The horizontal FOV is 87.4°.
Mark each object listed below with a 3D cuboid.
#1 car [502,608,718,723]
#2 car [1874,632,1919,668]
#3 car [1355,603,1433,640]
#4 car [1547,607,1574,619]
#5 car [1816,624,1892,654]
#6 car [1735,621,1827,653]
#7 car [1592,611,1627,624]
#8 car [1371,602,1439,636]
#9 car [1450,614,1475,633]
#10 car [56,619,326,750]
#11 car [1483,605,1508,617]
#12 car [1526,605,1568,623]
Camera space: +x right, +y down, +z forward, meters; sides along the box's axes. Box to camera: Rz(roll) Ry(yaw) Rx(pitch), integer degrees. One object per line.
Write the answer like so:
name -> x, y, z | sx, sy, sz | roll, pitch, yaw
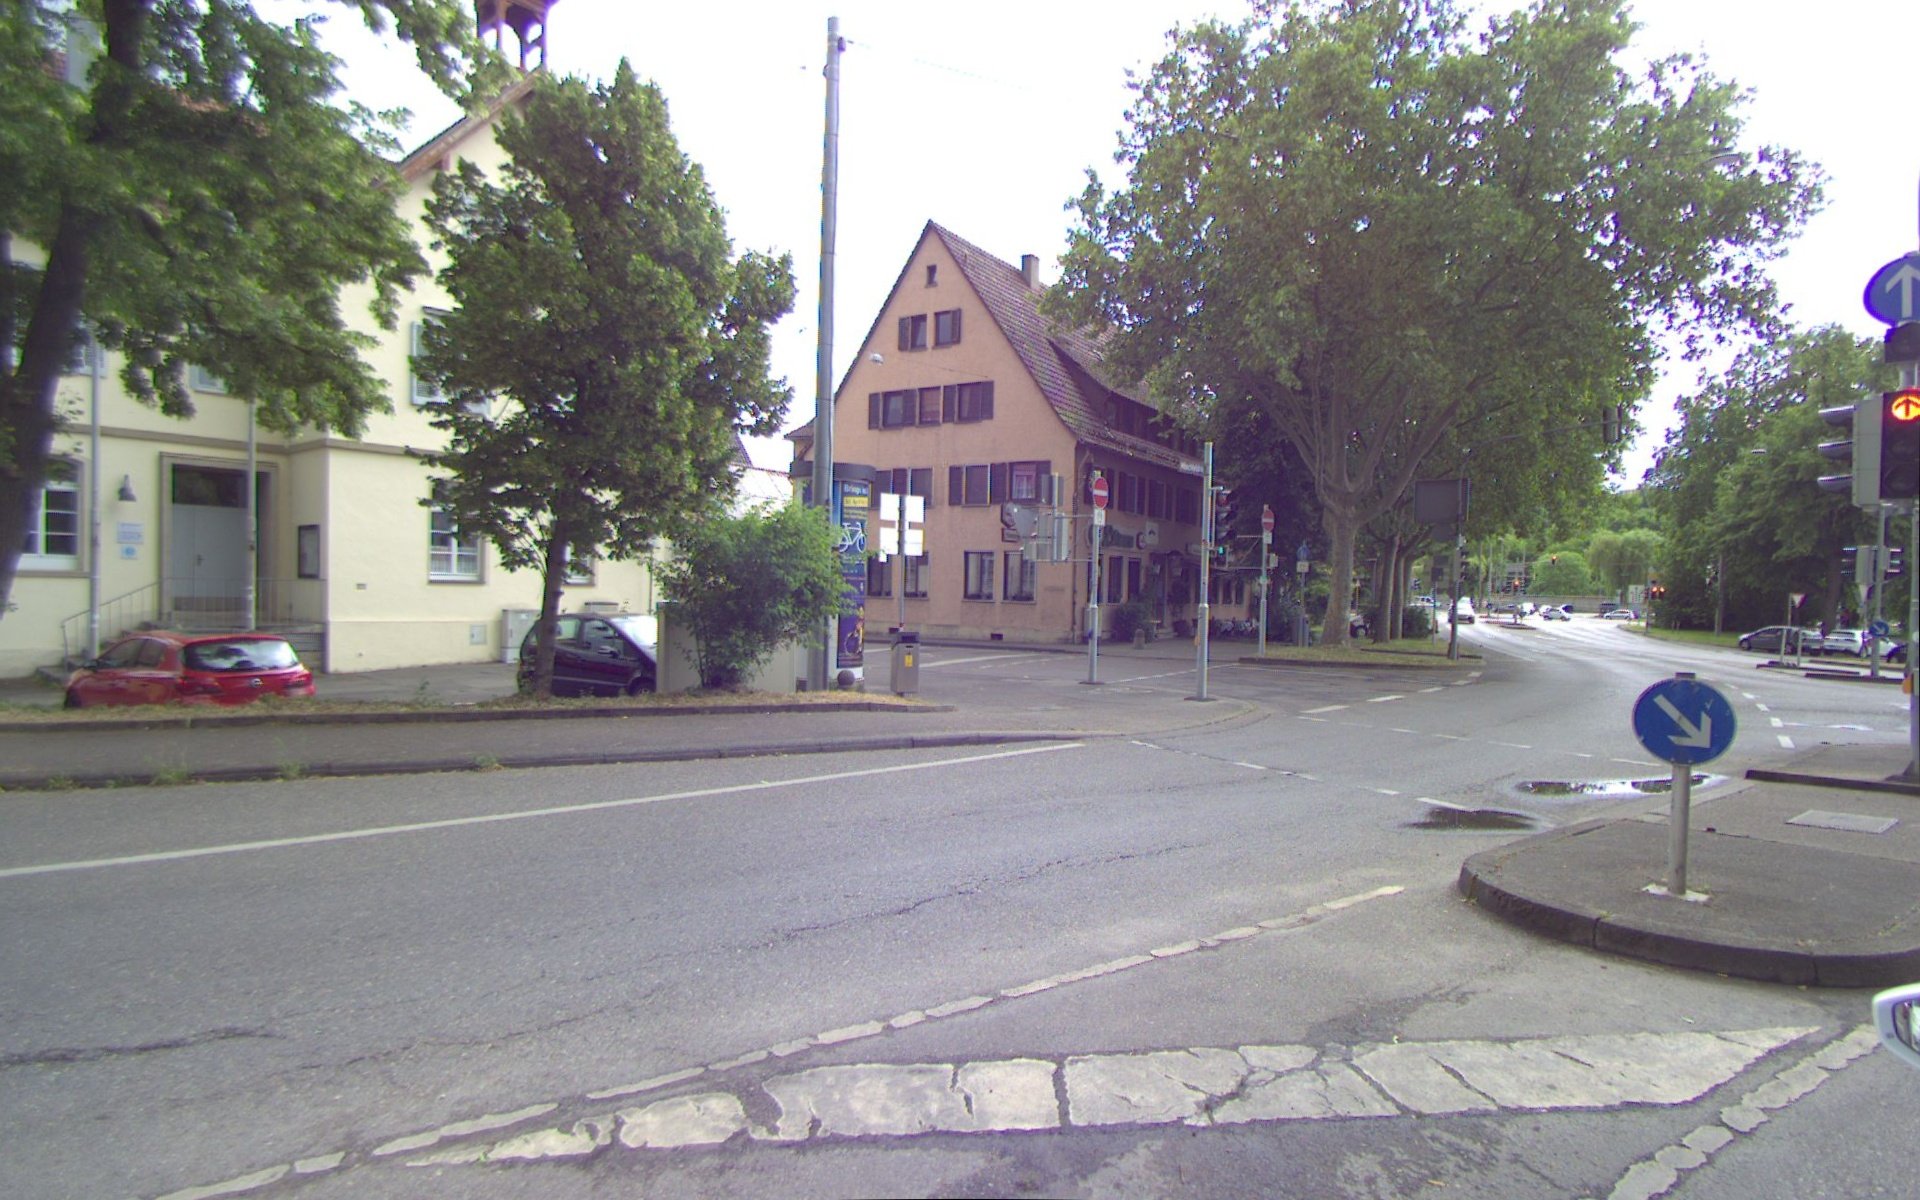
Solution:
car -> -5.763, 1.009, 16.600 | 3.035, 1.654, 1.607 | 2, 0, 22
car -> 39.570, 2.073, 40.949 | 1.442, 1.412, 3.596 | 2, 0, 3
car -> 21.410, 1.045, 49.588 | 3.387, 1.663, 1.570 | 2, 0, 28
car -> 108.235, 2.295, 181.092 | 3.928, 2.040, 1.996 | 2, 0, 30
car -> 47.304, 2.076, 53.165 | 3.342, 1.484, 1.543 | 2, 0, -19
car -> 43.865, 1.963, 53.764 | 1.559, 1.484, 3.543 | 2, 0, -17
car -> 90.453, 2.420, 139.829 | 3.935, 1.572, 1.862 | 2, 0, 37
car -> 25.471, 1.082, 57.472 | 3.387, 1.765, 1.570 | 2, 0, 28
car -> 39.707, 1.818, 79.400 | 1.404, 1.435, 2.872 | 1, -1, 19
car -> -10.175, 1.016, 13.252 | 3.492, 1.397, 1.605 | 2, 0, 30
car -> 100.721, 2.107, 188.938 | 3.928, 2.040, 1.996 | 2, 0, 30
car -> 70.877, 1.659, 121.322 | 1.852, 2.040, 3.946 | 2, 0, -45
